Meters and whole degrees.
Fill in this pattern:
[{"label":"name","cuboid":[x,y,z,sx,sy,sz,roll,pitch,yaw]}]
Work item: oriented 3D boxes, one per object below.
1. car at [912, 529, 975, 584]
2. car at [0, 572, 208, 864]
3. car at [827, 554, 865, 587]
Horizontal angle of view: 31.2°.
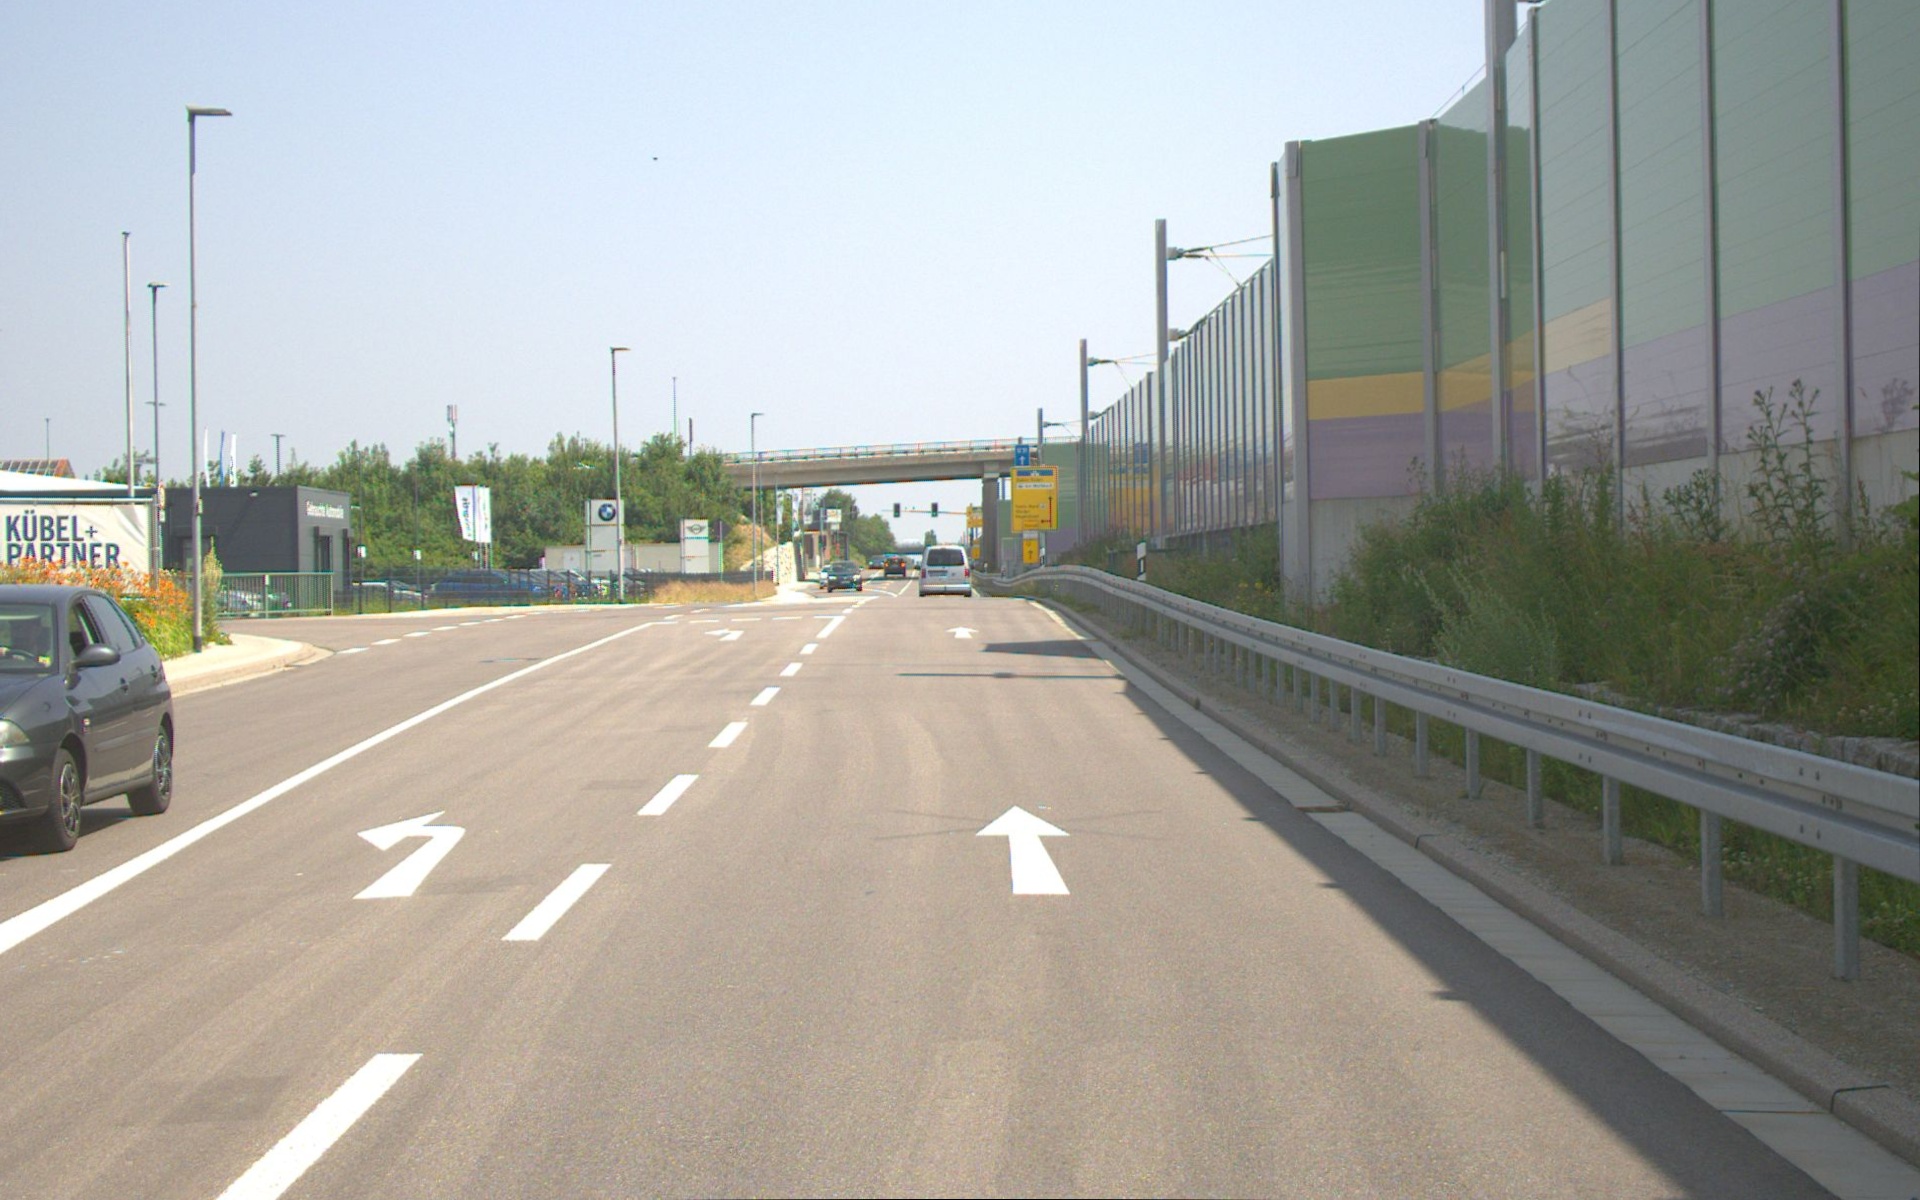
[{"label":"car","cuboid":[-0.528,-1.469,115.110,1.993,1.751,4.000,-1,1,1]},{"label":"car","cuboid":[-5.527,0.618,19.408,1.670,1.418,4.000,-3,1,-1]},{"label":"car","cuboid":[-6.151,-1.586,185.355,1.877,1.667,4.291,-1,1,0]}]
